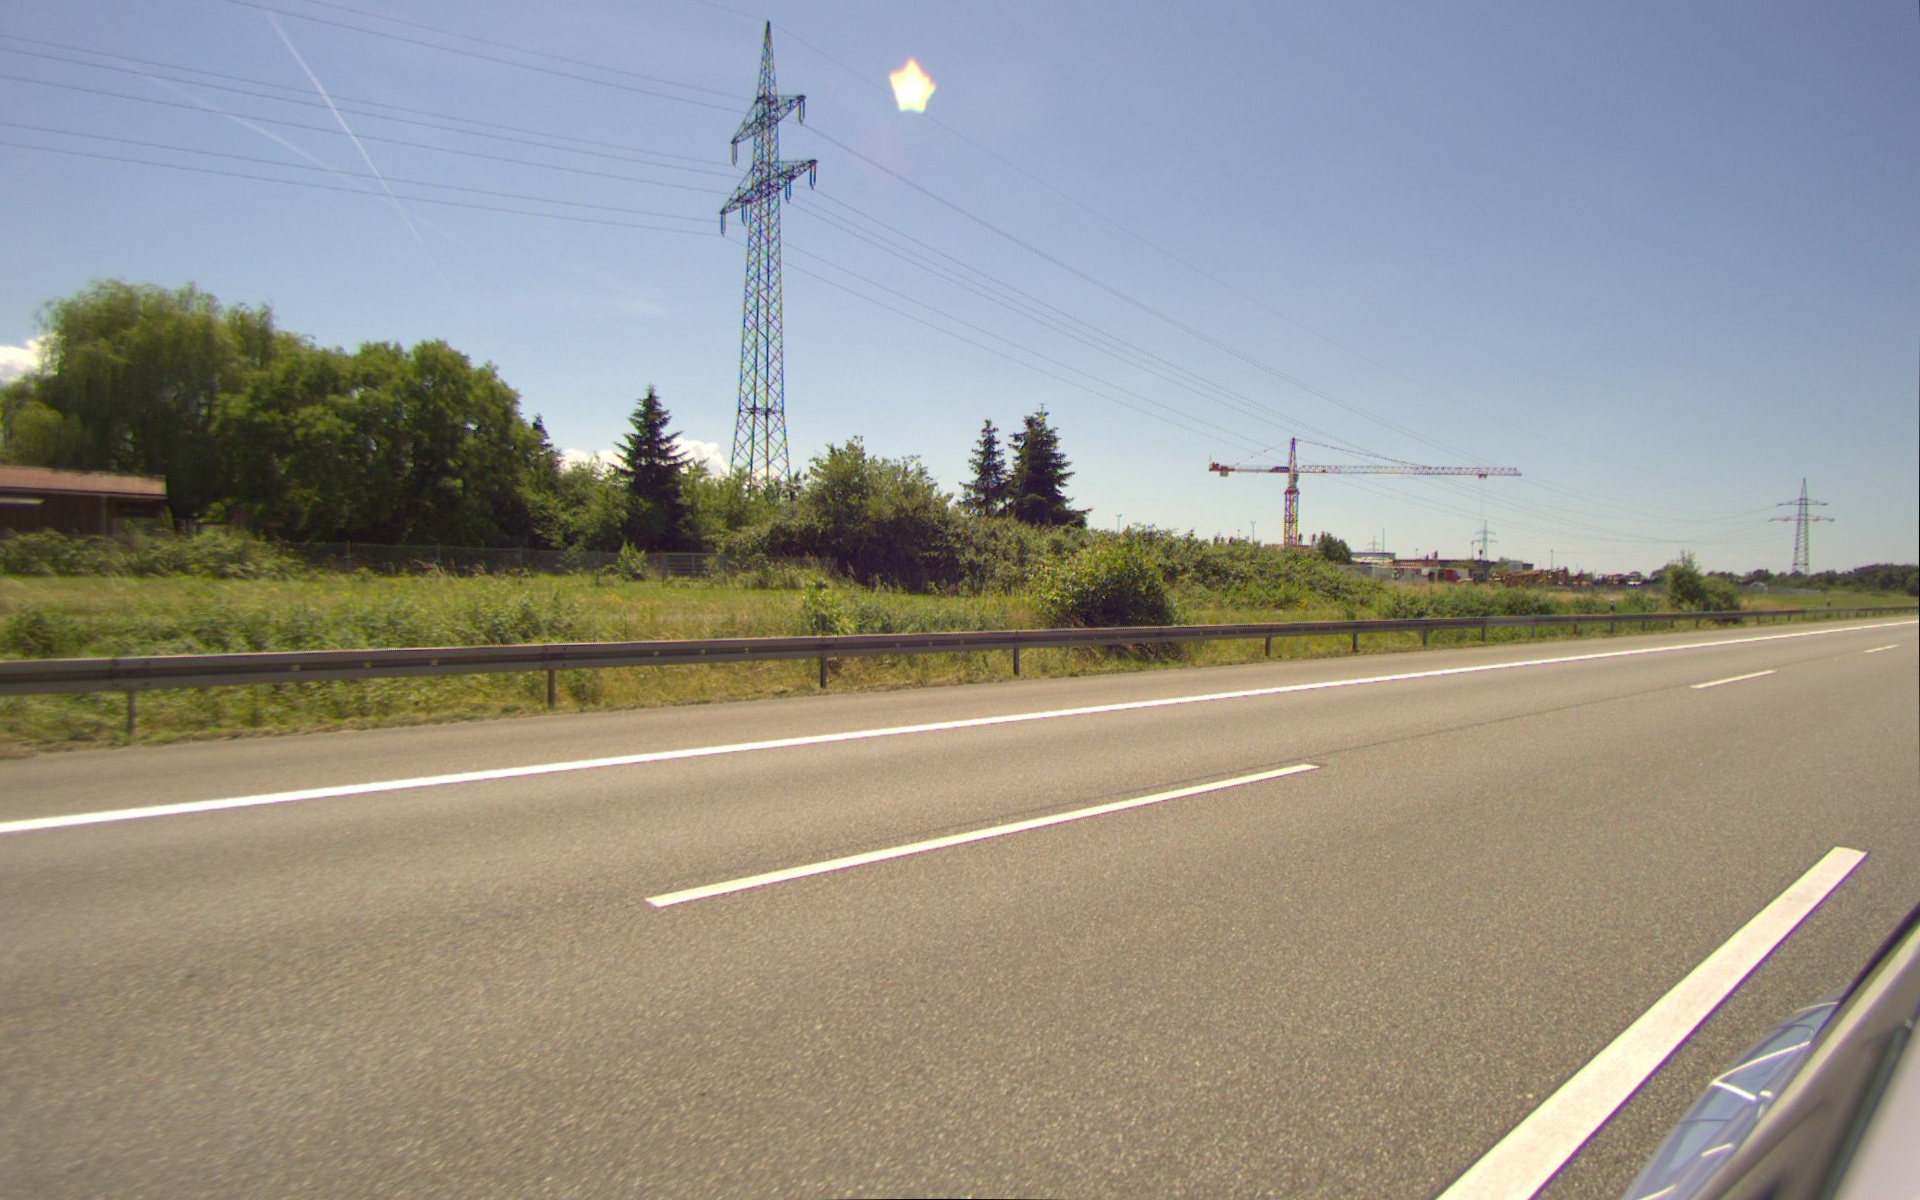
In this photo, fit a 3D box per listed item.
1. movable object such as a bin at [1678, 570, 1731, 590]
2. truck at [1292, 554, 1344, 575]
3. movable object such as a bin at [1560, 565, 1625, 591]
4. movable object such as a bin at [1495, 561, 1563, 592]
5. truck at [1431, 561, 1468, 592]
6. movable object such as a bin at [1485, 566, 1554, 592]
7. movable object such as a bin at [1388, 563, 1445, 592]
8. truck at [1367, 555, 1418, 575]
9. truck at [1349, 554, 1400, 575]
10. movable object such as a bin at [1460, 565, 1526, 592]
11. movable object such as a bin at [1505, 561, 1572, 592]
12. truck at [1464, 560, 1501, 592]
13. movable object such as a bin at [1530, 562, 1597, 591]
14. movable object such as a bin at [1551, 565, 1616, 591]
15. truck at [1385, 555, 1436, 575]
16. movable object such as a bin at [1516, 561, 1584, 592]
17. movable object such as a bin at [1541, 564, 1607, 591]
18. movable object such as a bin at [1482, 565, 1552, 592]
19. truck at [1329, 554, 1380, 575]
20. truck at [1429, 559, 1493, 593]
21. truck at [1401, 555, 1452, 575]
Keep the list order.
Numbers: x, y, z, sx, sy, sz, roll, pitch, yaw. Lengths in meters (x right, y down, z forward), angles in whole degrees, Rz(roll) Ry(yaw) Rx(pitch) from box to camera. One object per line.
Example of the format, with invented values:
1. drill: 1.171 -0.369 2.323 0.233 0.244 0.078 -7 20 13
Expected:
1. movable object such as a bin: 151.063 -3.986 205.404 2.829 3.955 8.112 0 0 -39
2. truck: 63.728 -6.369 180.305 8.119 3.454 2.803 3 2 34
3. movable object such as a bin: 100.328 -3.417 160.611 3.081 4.001 8.112 0 0 -39
4. movable object such as a bin: 81.979 -3.343 146.004 2.829 4.351 8.112 0 0 -39
5. truck: 78.064 -3.634 161.349 5.877 4.833 3.050 0 0 -40
6. movable object such as a bin: 79.509 -2.988 143.997 2.829 3.507 8.112 0 0 -39
7. movable object such as a bin: 79.066 -3.835 175.534 3.227 4.709 8.848 0 0 -30
8. truck: 79.393 -6.495 185.866 8.145 3.453 2.794 4 3 42
9. truck: 75.521 -6.462 184.265 8.119 3.454 2.803 3 2 34
10. movable object such as a bin: 73.589 -2.928 139.742 2.829 3.507 7.582 0 0 -39
11. movable object such as a bin: 84.663 -3.430 148.219 2.829 4.351 8.112 0 0 -39
12. truck: 79.999 -3.607 154.879 5.877 4.833 3.050 0 0 -40
13. movable object such as a bin: 91.405 -3.501 153.476 3.240 4.351 8.112 0 0 -39
14. movable object such as a bin: 97.426 -3.386 158.190 3.081 4.001 8.112 0 0 -39
15. truck: 83.368 -6.527 187.382 8.134 3.454 2.798 4 3 39
16. movable object such as a bin: 88.069 -3.467 151.150 3.291 4.351 8.112 0 0 -39
17. movable object such as a bin: 94.499 -3.355 155.947 3.081 4.001 8.112 0 0 -39
18. movable object such as a bin: 77.579 -2.959 141.111 2.829 3.507 8.112 0 0 -39
19. truck: 71.381 -6.430 182.969 8.119 3.454 2.803 3 2 34
20. truck: 74.428 -3.546 150.163 14.070 4.832 3.050 -1 0 -40
21. truck: 87.030 -6.557 188.777 8.129 3.454 2.799 3 3 37
